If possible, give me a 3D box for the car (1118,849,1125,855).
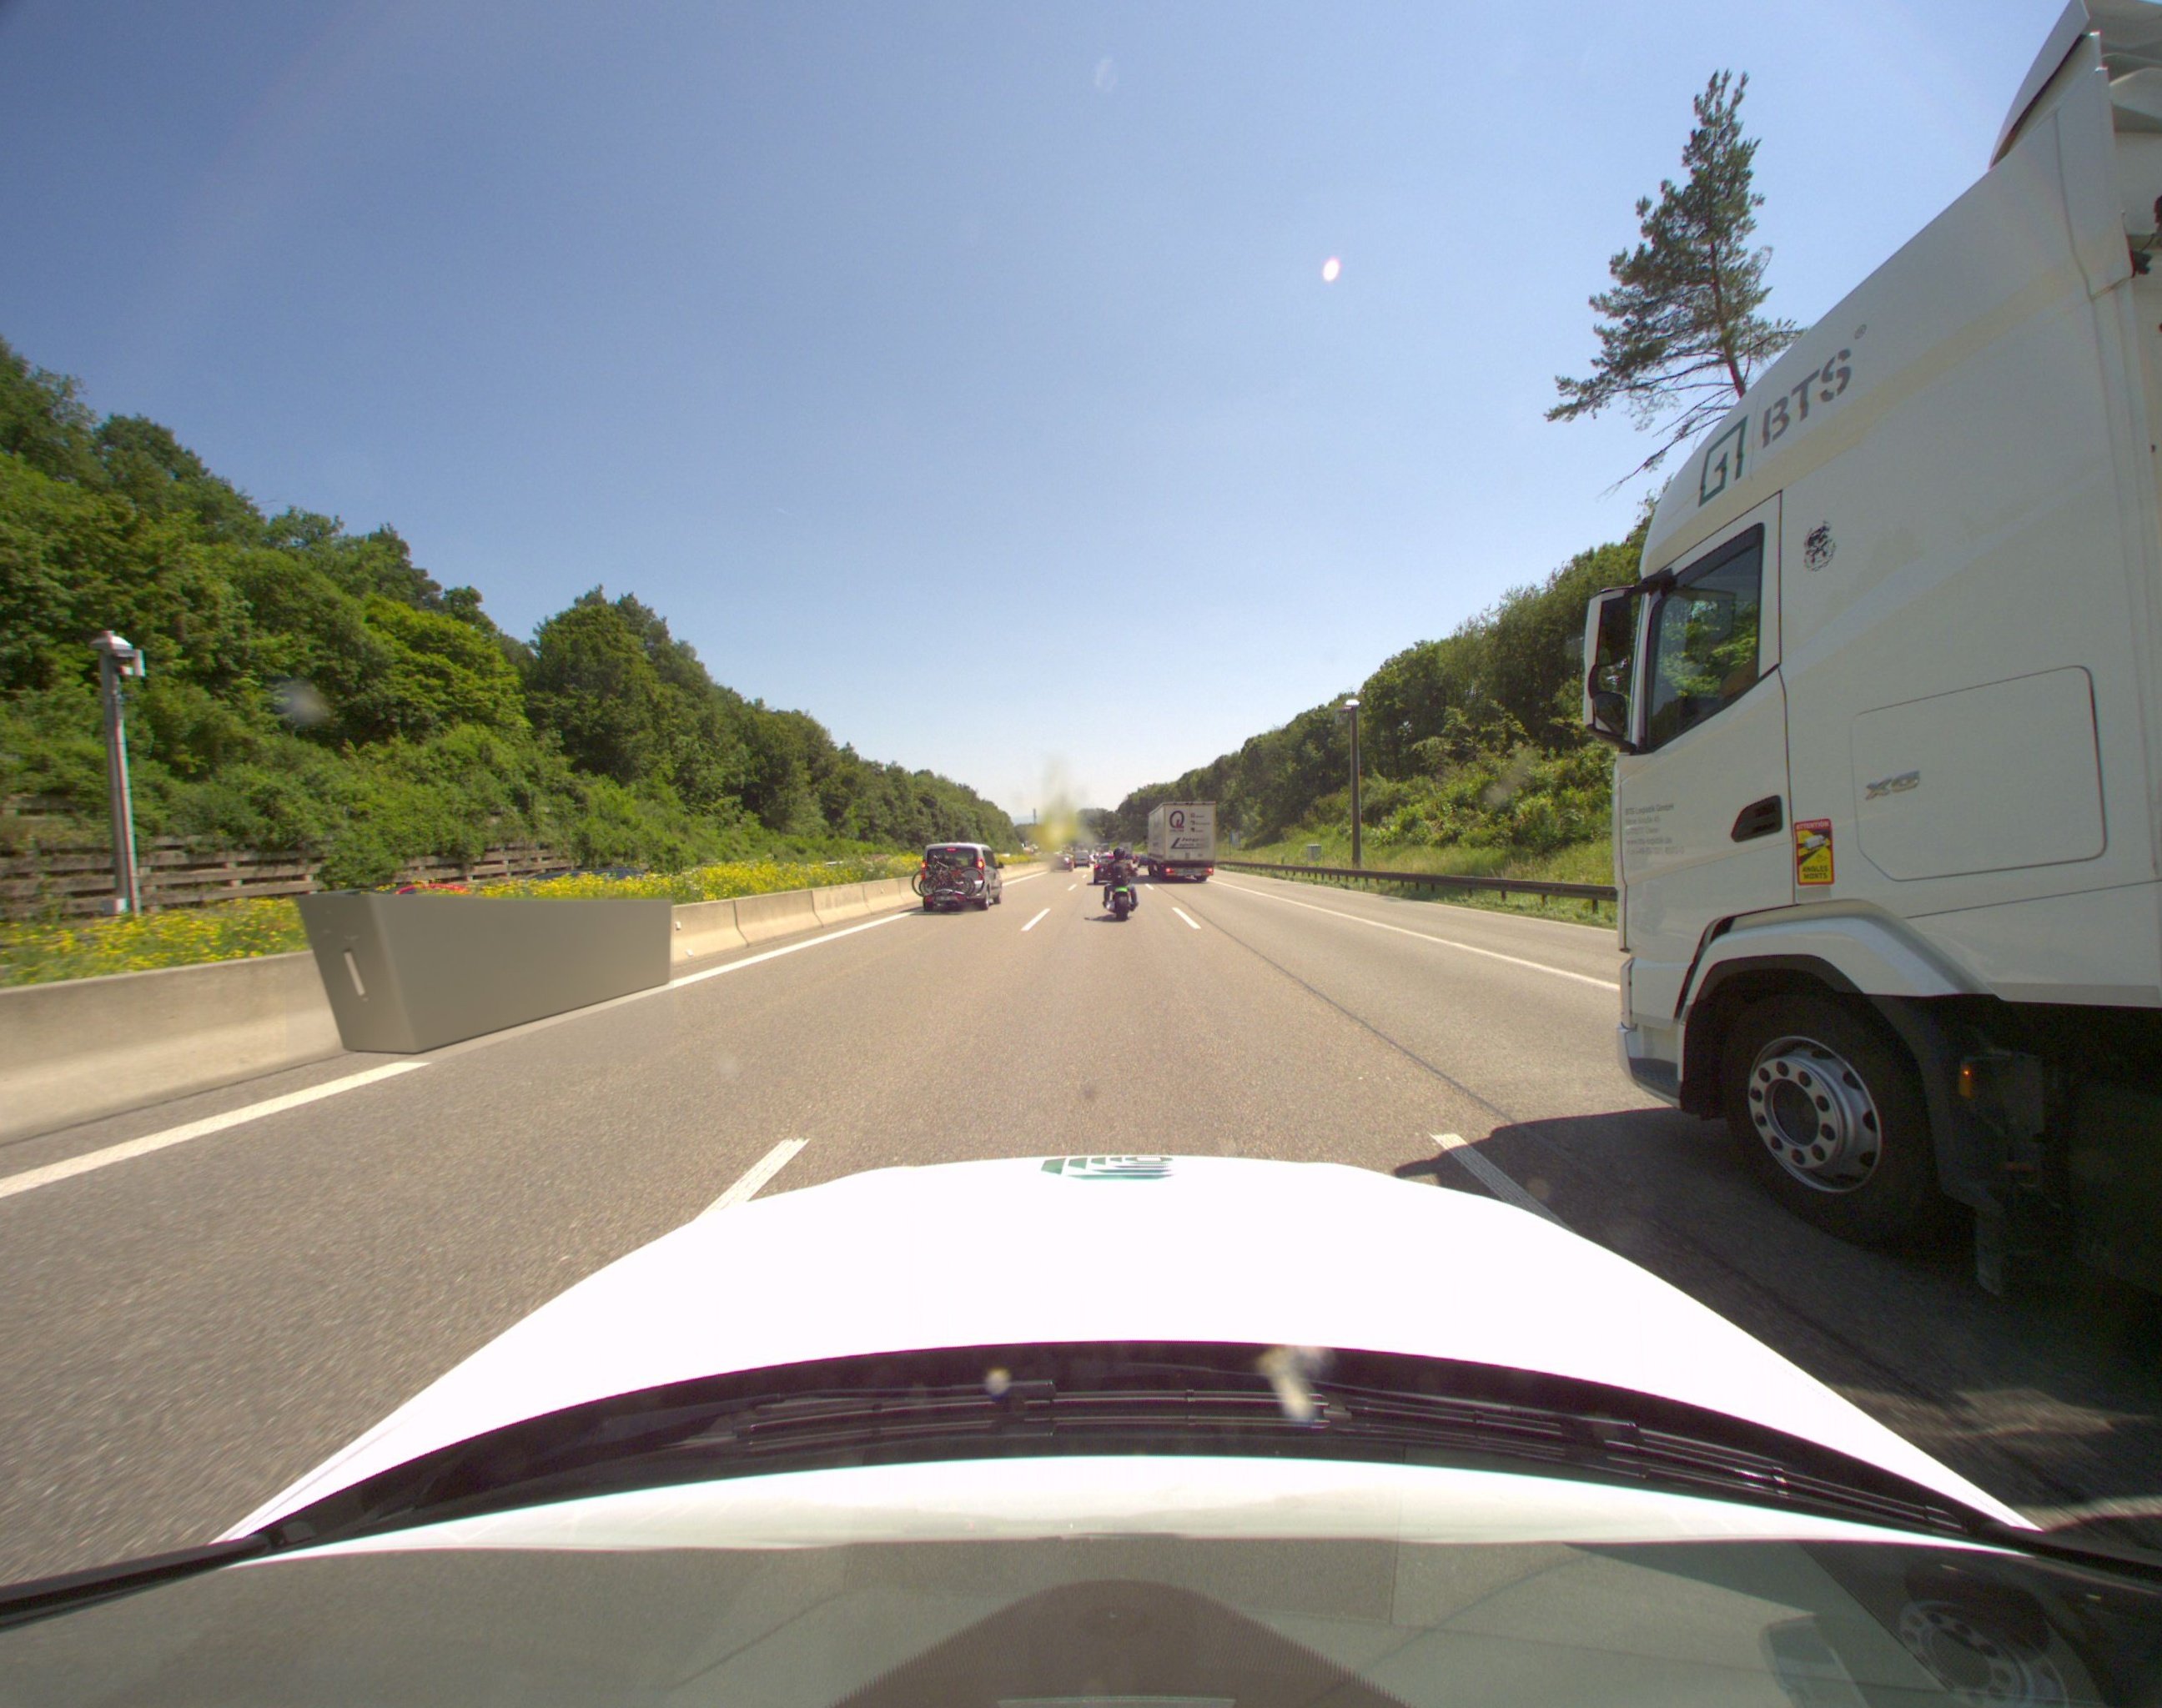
[{"bbox_3d":[12.002,-0.596,240.931,1.824,1.558,4.122,-1,1,1],"label":"car"}]

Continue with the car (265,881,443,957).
[{"bbox_3d":[-17.656,1.524,19.973,1.434,1.522,3.154,-2,0,1],"label":"car"}]

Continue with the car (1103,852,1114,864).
[{"bbox_3d":[4.636,0.634,136.894,1.824,1.810,4.122,-1,1,1],"label":"car"}]

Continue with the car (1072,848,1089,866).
[{"bbox_3d":[-0.006,0.314,91.700,1.824,1.810,4.122,-1,1,1],"label":"car"}]

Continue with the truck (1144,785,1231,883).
[{"bbox_3d":[5.846,-1.116,48.180,3.370,4.717,17.718,0,1,2],"label":"truck"}]

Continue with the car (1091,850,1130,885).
[{"bbox_3d":[1.447,0.629,40.563,1.838,1.557,4.441,-1,1,1],"label":"car"}]

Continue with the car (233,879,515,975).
[{"bbox_3d":[-14.420,1.394,17.069,1.782,1.522,4.587,-2,0,1],"label":"car"}]

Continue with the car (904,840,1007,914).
[{"bbox_3d":[-3.392,0.550,23.102,1.891,1.847,5.485,-1,1,2],"label":"car"}]

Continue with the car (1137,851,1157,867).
[{"bbox_3d":[6.923,0.491,85.896,1.824,1.558,4.122,-1,1,1],"label":"car"}]

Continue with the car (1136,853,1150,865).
[{"bbox_3d":[8.736,0.688,115.192,1.824,1.558,4.122,-1,1,1],"label":"car"}]

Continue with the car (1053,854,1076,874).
[{"bbox_3d":[-1.346,0.815,69.625,1.751,1.543,4.397,-1,1,1],"label":"car"}]

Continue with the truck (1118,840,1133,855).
[{"bbox_3d":[10.089,-1.548,185.298,3.056,3.346,9.657,0,1,2],"label":"truck"}]

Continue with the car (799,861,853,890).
[{"bbox_3d":[-16.448,1.374,52.760,1.803,1.807,4.505,0,-1,3],"label":"car"}]

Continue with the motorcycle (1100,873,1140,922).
[{"bbox_3d":[0.906,0.962,18.770,0.859,0.982,2.132,-1,0,3],"label":"motorcycle"}]

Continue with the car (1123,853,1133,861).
[{"bbox_3d":[9.428,0.649,163.998,1.824,1.558,4.122,-1,1,1],"label":"car"}]

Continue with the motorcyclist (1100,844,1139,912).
[{"bbox_3d":[0.893,0.531,18.708,0.852,1.515,0.914,-1,0,2],"label":"motorcyclist"}]

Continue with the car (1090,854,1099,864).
[{"bbox_3d":[2.827,0.998,165.842,1.824,1.810,4.122,-1,1,1],"label":"car"}]
